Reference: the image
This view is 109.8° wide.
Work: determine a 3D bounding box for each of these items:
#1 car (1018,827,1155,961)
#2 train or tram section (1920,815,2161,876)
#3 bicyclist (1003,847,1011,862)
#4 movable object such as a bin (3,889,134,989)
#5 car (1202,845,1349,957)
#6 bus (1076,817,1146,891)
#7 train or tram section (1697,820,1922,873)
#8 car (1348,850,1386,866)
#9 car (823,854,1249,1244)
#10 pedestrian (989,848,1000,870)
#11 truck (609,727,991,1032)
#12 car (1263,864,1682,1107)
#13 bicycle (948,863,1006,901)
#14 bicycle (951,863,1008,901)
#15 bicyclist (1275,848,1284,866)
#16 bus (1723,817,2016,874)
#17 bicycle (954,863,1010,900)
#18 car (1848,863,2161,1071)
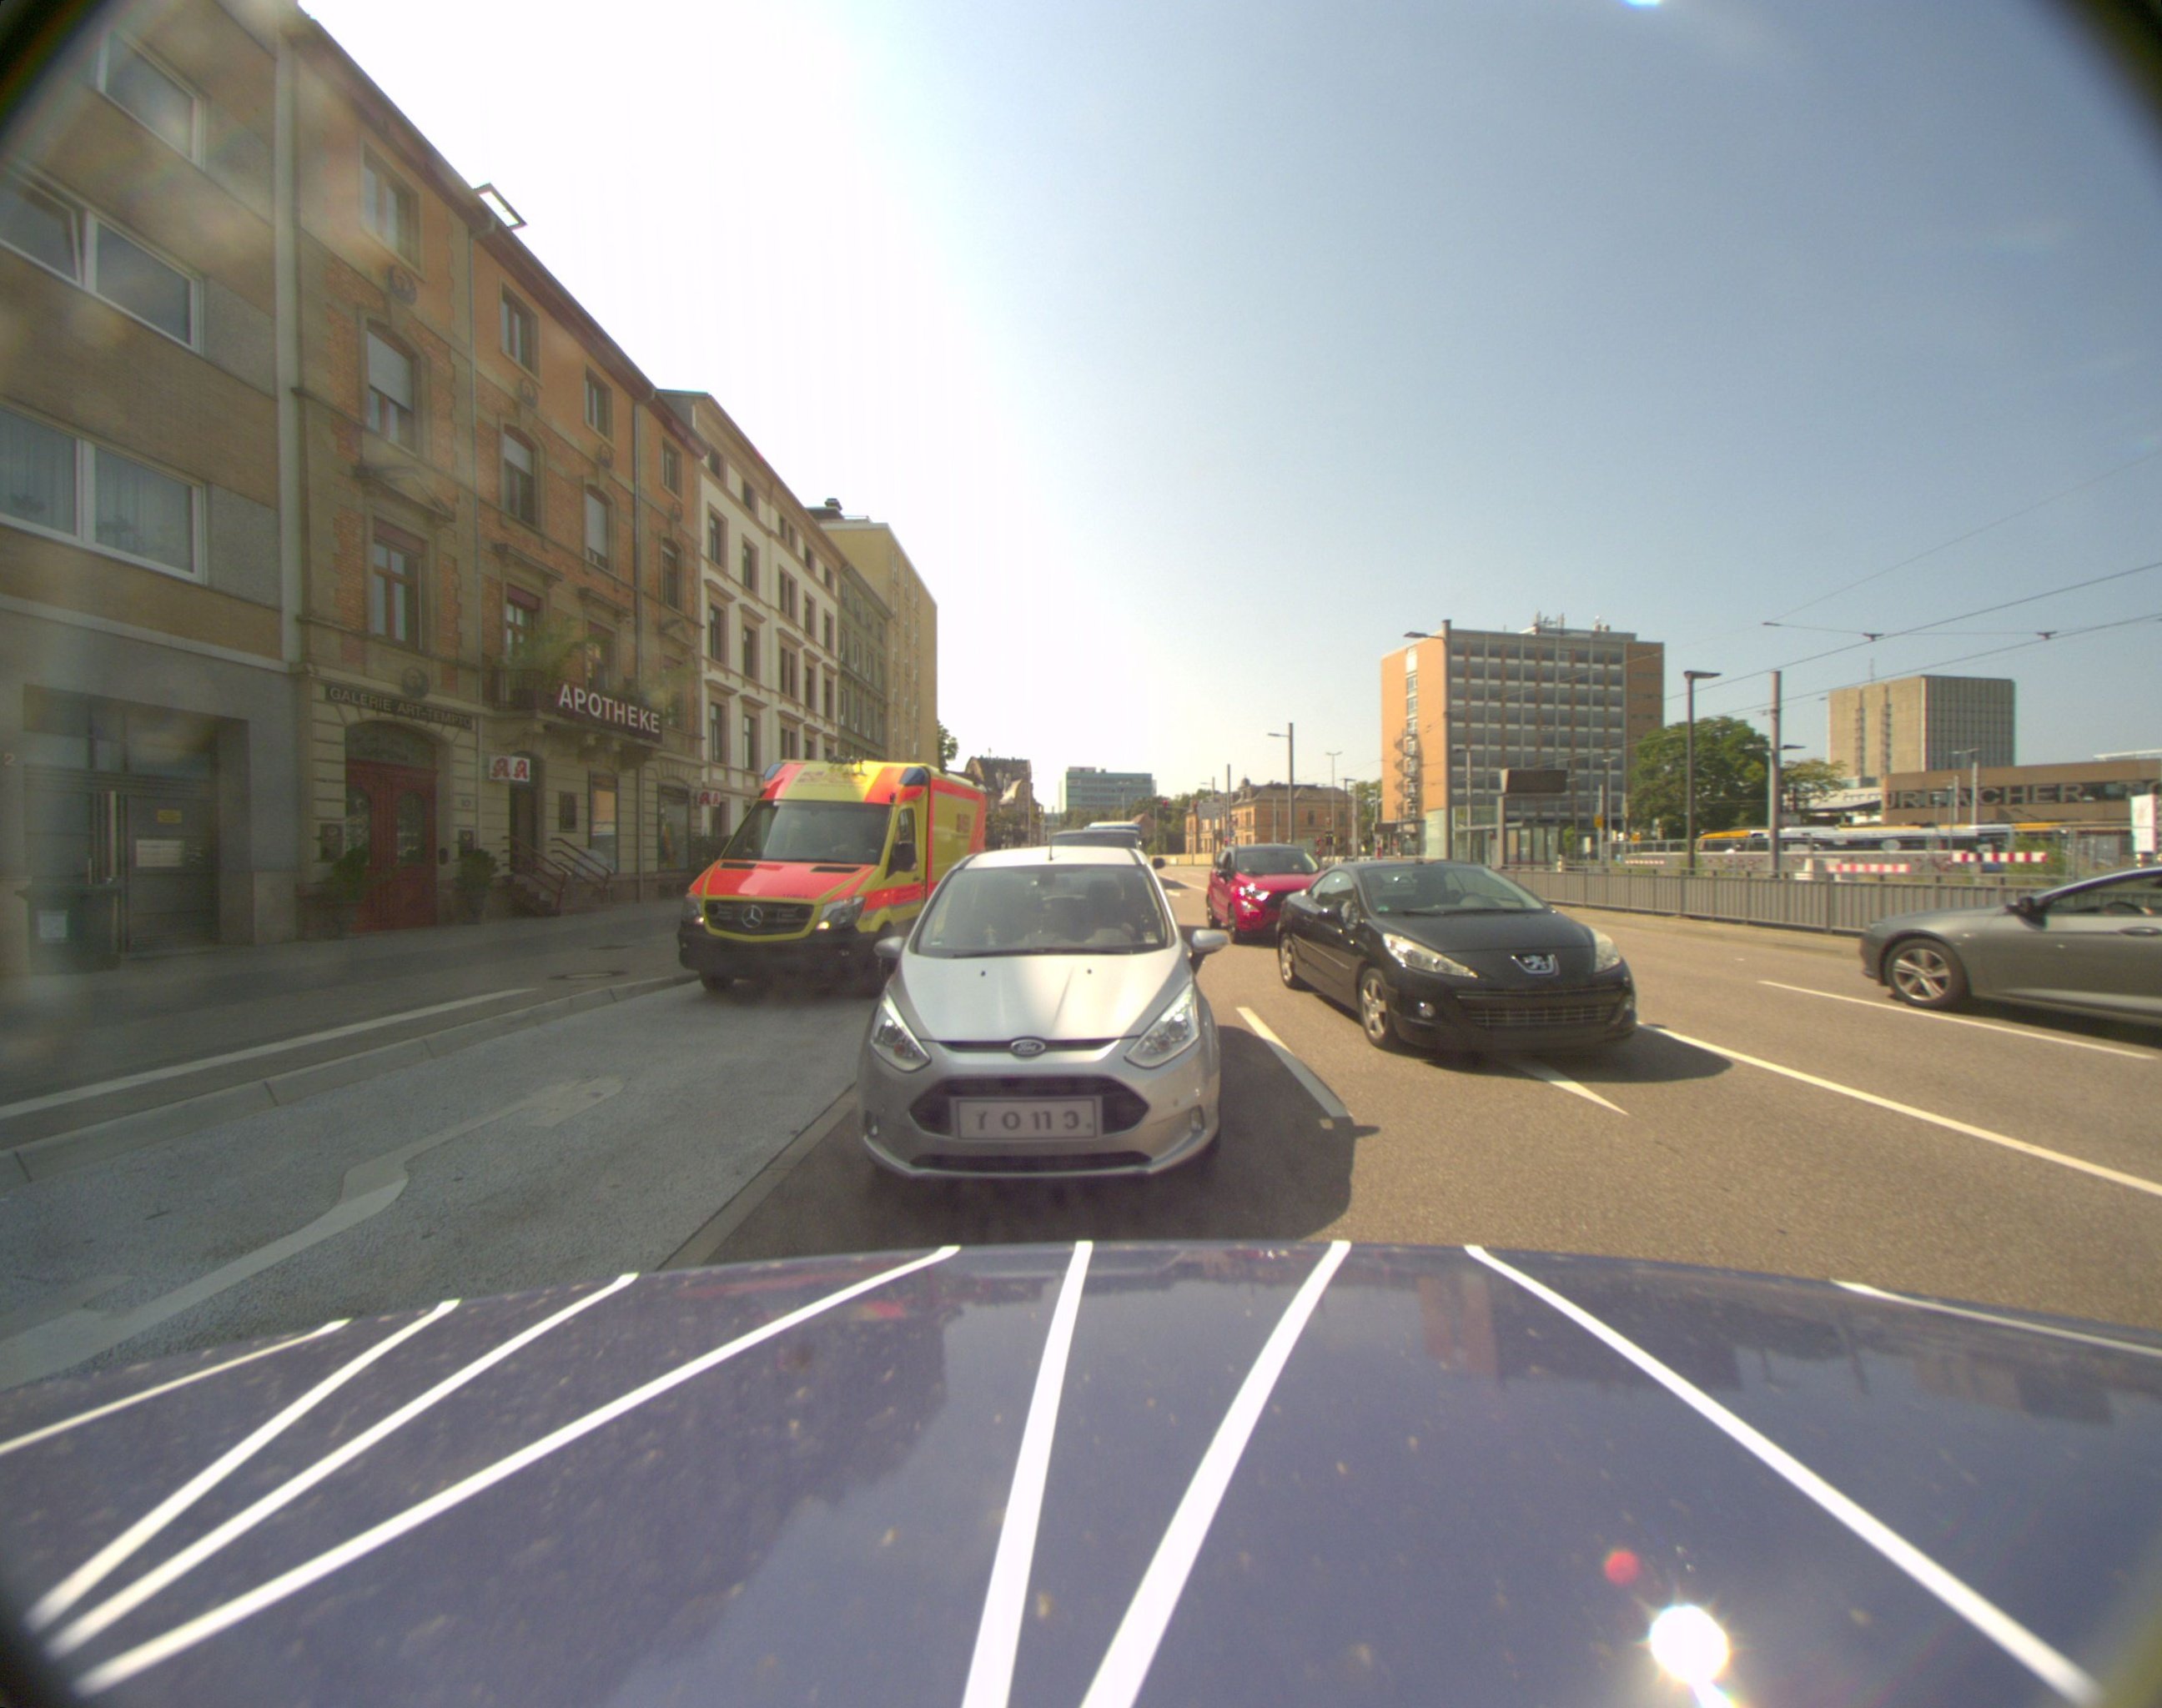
[{"bbox_3d":[0.140,0.594,13.760,1.998,1.953,4.816,-2,0,1],"label":"car"},{"bbox_3d":[64.171,-0.498,49.739,2.004,3.743,12.331,-1,0,-45],"label":"train or tram section"},{"bbox_3d":[-8.244,0.064,84.261,0.721,1.577,1.103,-1,0,2],"label":"bicyclist"},{"bbox_3d":[-11.993,0.975,9.030,0.648,1.098,0.727,1,0,-24],"label":"movable object such as a bin"},{"bbox_3d":[3.186,0.691,13.199,1.634,1.611,3.968,-2,0,2],"label":"car"},{"bbox_3d":[1.698,-0.032,39.069,2.919,3.119,12.347,-2,0,4],"label":"bus"},{"bbox_3d":[55.469,-0.502,58.469,2.004,3.743,12.331,-1,0,-45],"label":"train or tram section"},{"bbox_3d":[32.330,0.469,85.986,3.874,1.575,1.690,-2,0,13],"label":"car"},{"bbox_3d":[-0.140,0.817,5.144,1.728,1.579,4.000,-1,0,1],"label":"car"},{"bbox_3d":[-6.278,0.369,55.187,0.645,1.619,0.796,1,1,0],"label":"pedestrian"},{"bbox_3d":[-3.010,0.207,10.222,2.333,2.754,6.340,2,1,4],"label":"truck"},{"bbox_3d":[2.889,0.842,6.618,1.692,1.405,3.801,-2,0,1],"label":"car"},{"bbox_3d":[-3.452,0.931,25.331,1.841,1.196,0.434,-2,1,1],"label":"bicycle"},{"bbox_3d":[-3.424,0.944,25.767,1.841,1.196,0.434,-2,1,1],"label":"bicycle"},{"bbox_3d":[22.090,0.323,84.610,0.857,1.891,0.664,-2,1,21],"label":"bicyclist"},{"bbox_3d":[52.318,-0.429,51.344,3.357,3.275,13.371,-3,0,-45],"label":"bus"},{"bbox_3d":[-3.411,0.931,26.228,1.841,1.212,0.434,-2,1,1],"label":"bicycle"},{"bbox_3d":[8.454,0.820,5.223,1.750,1.427,4.573,1,0,1],"label":"car"}]
